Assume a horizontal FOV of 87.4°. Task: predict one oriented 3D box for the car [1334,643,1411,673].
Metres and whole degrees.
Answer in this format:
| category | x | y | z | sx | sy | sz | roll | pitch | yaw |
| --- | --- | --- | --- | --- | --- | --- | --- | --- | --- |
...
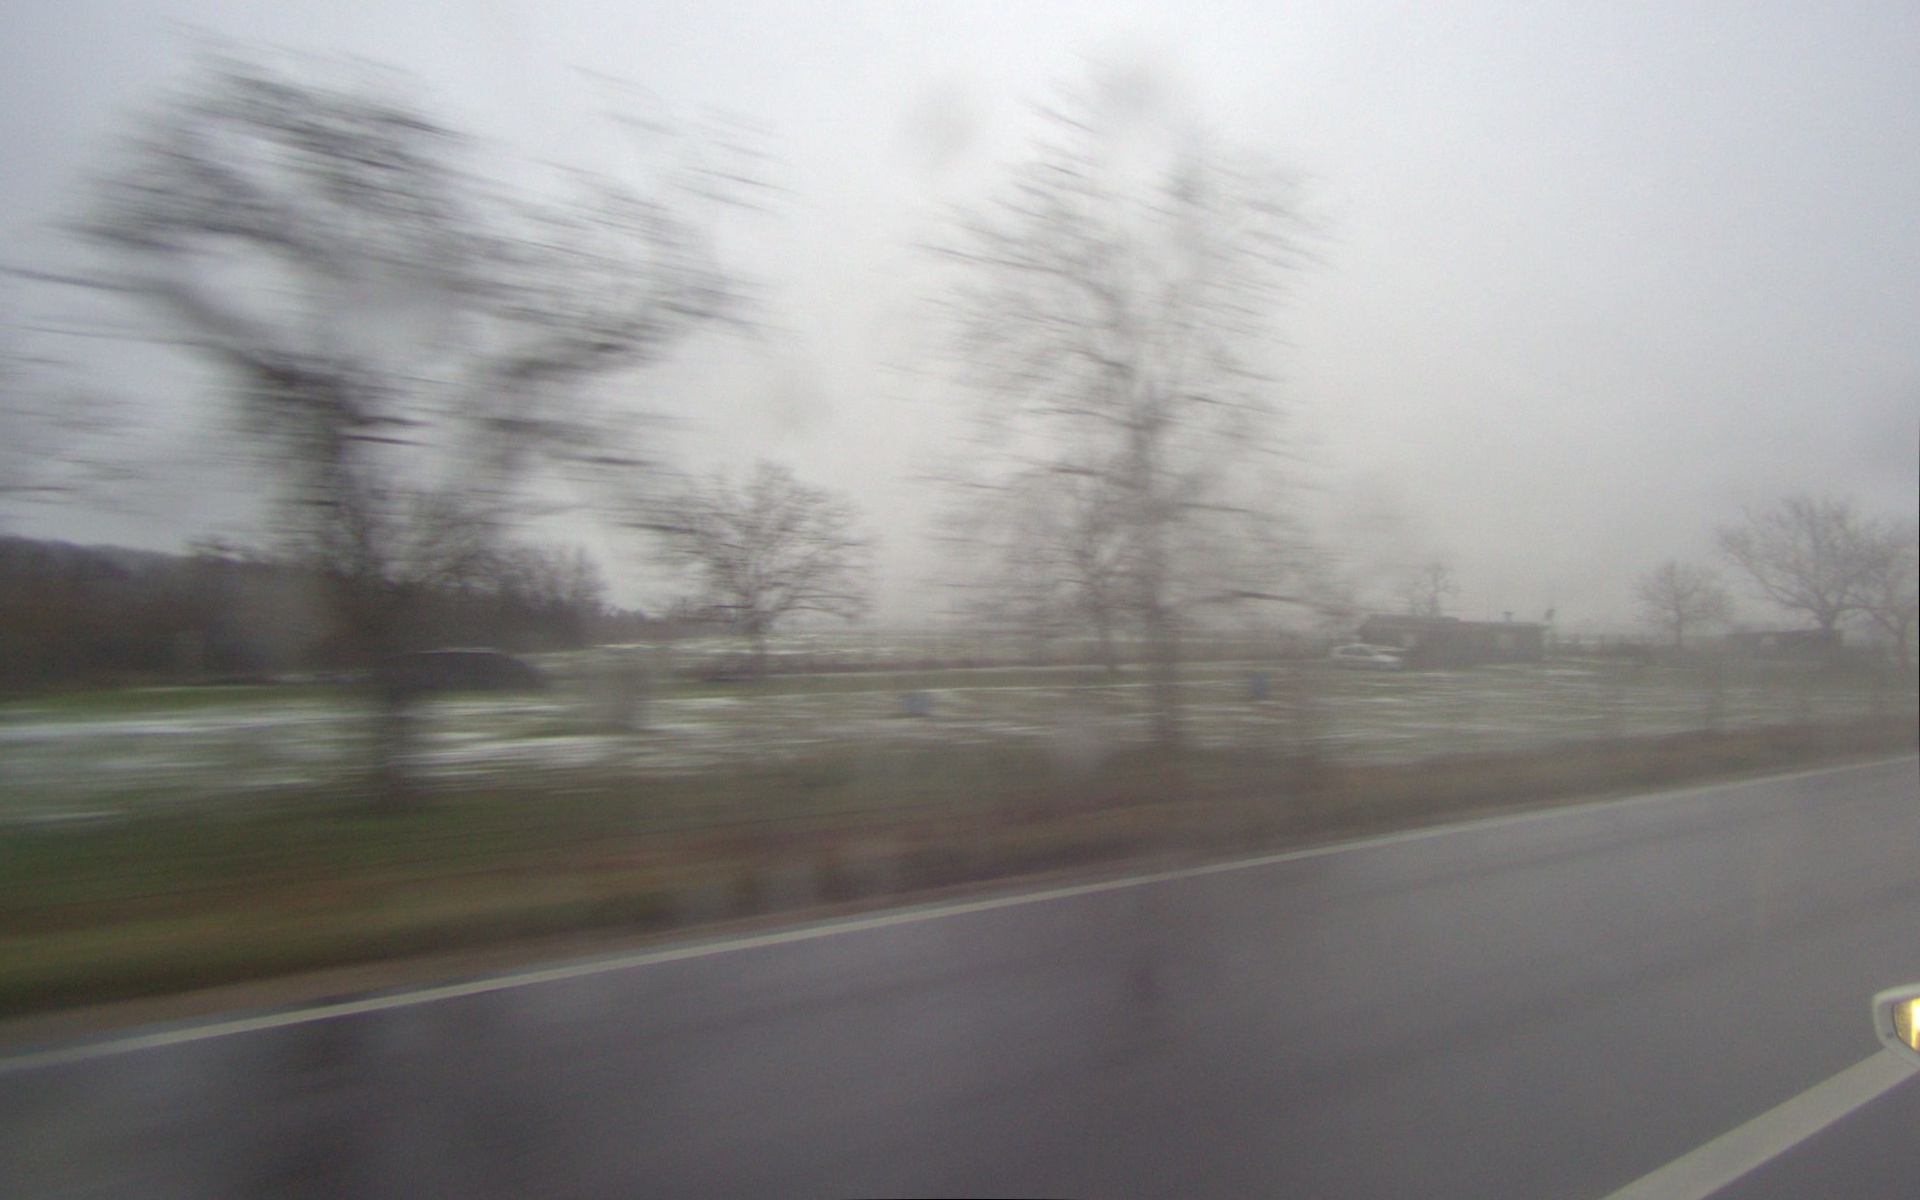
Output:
| category | x | y | z | sx | sy | sz | roll | pitch | yaw |
| --- | --- | --- | --- | --- | --- | --- | --- | --- | --- |
| car | 21.643 | 3.008 | 52.740 | 1.588 | 1.360 | 3.407 | 2 | 0 | -44 |
